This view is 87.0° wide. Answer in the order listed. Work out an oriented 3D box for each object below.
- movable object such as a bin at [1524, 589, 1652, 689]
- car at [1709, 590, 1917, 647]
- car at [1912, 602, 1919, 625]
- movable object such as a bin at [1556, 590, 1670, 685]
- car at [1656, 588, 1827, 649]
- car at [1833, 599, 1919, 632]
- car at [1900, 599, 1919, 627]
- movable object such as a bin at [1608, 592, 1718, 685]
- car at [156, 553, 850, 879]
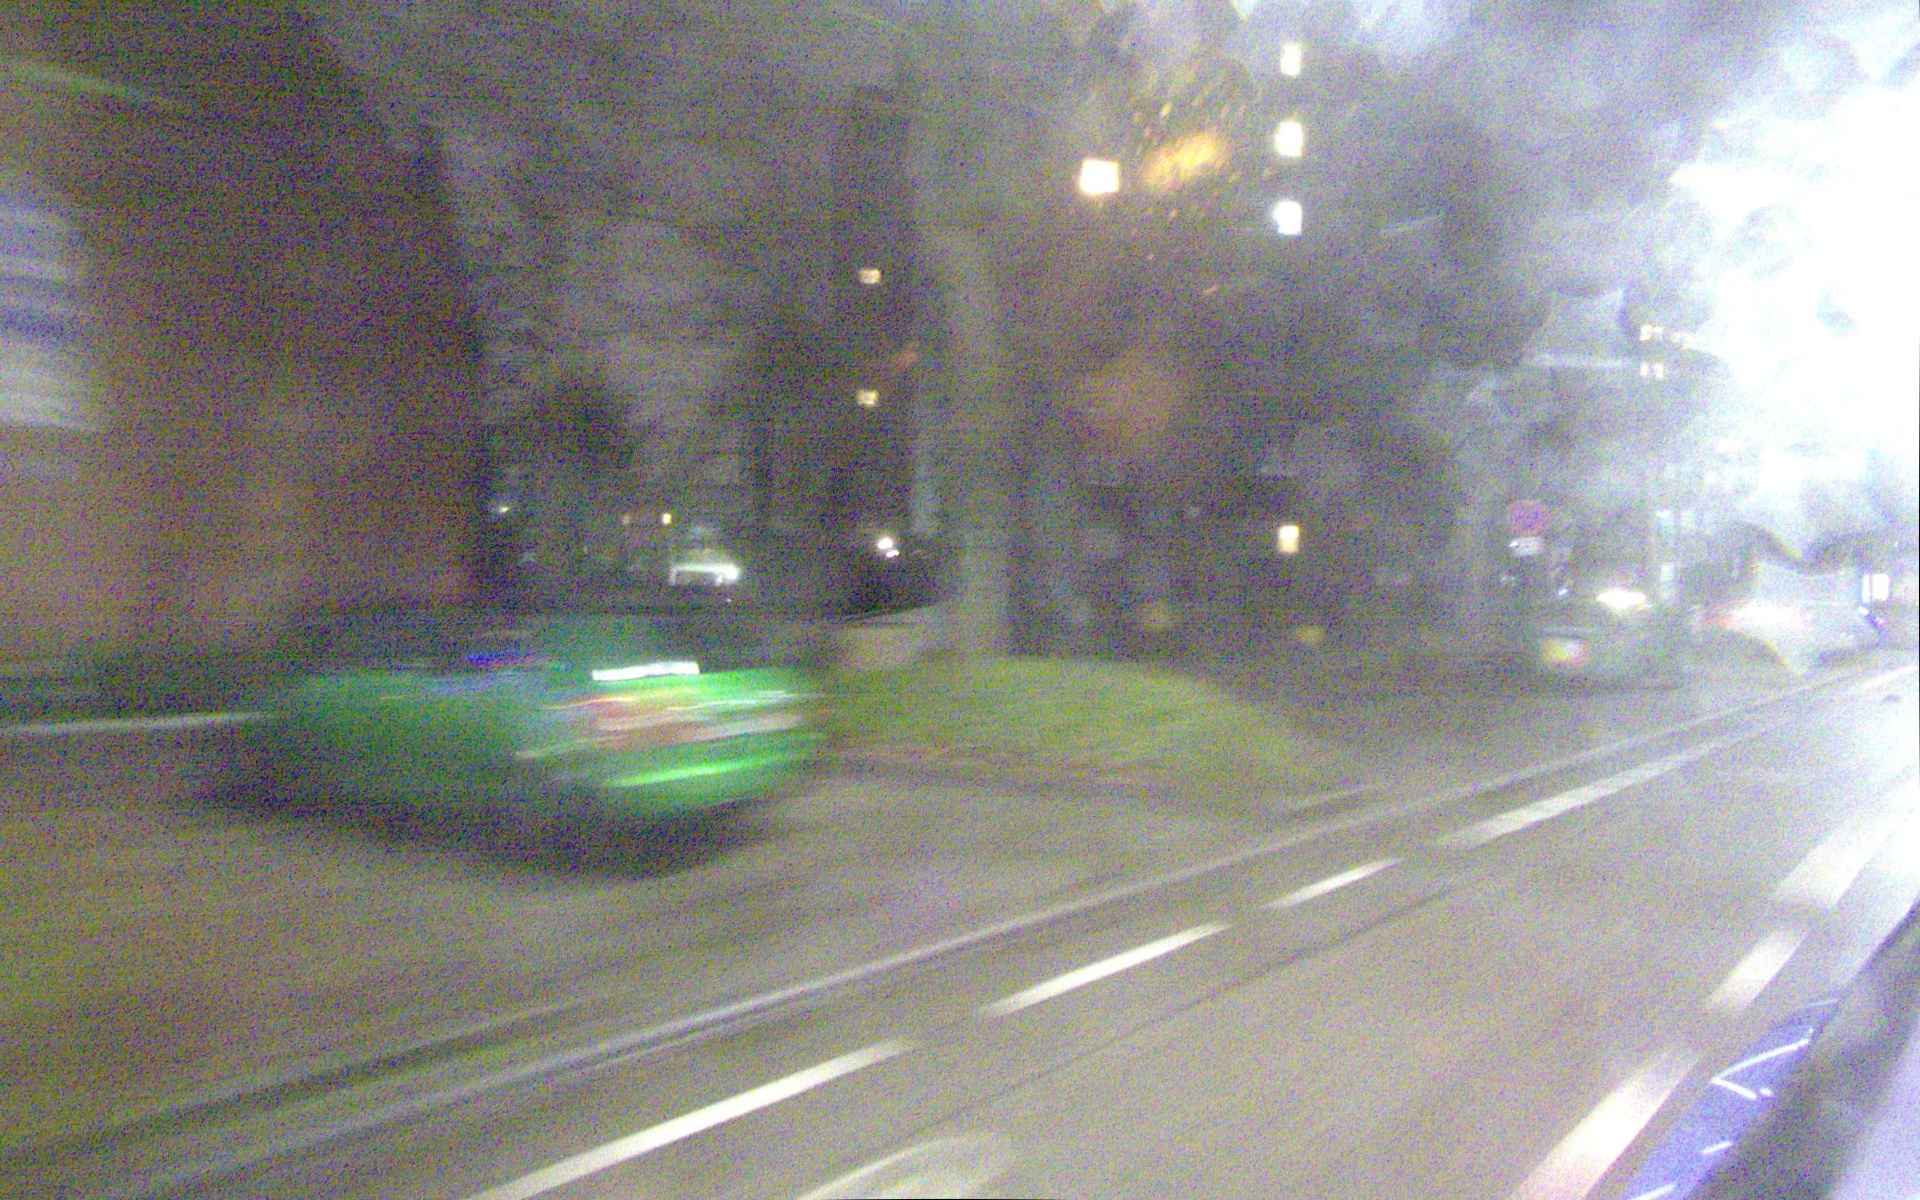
[{"bbox_3d":[9.854,0.576,15.911,1.052,1.440,1.373,0,2,-35],"label":"movable object such as a bin"},{"bbox_3d":[25.977,0.508,31.057,4.562,1.493,1.820,3,1,30],"label":"car"},{"bbox_3d":[63.800,0.877,64.726,4.107,1.501,1.662,0,-1,1],"label":"car"},{"bbox_3d":[10.708,0.584,16.614,1.080,1.440,1.212,0,2,-35],"label":"movable object such as a bin"},{"bbox_3d":[22.495,0.480,29.310,3.676,1.537,1.640,3,1,31],"label":"car"},{"bbox_3d":[44.517,0.729,48.085,4.273,1.486,1.676,1,1,11],"label":"car"},{"bbox_3d":[54.969,0.737,56.213,3.835,1.531,1.711,0,0,3],"label":"car"},{"bbox_3d":[11.834,0.611,17.046,1.322,1.425,1.141,3,2,44],"label":"movable object such as a bin"},{"bbox_3d":[-2.953,0.525,6.574,4.061,1.556,1.944,1,1,24],"label":"car"}]
